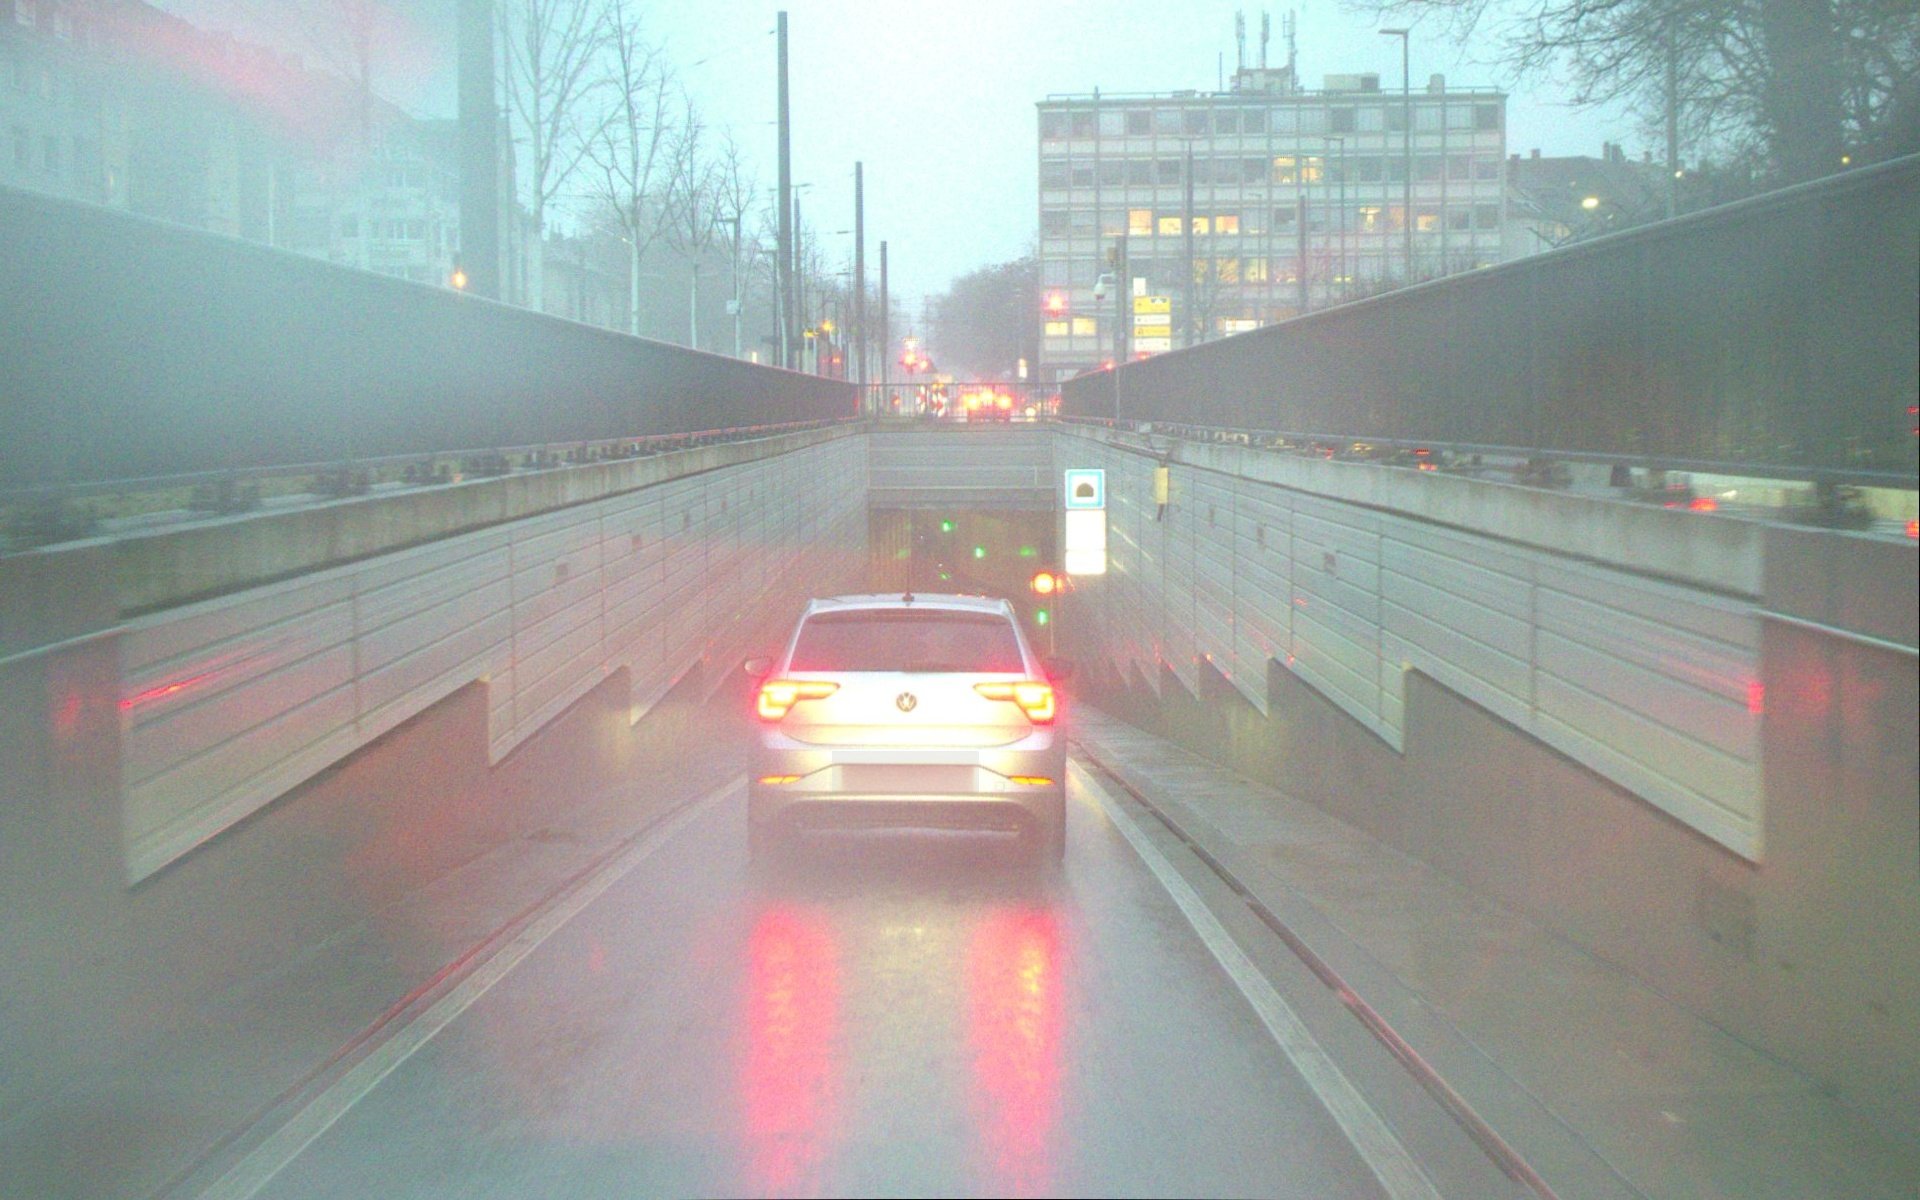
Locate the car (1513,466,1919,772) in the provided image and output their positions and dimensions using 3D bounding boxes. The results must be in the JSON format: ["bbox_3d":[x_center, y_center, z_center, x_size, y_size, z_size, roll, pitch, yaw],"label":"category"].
[{"bbox_3d":[4.250,0.022,19.298,1.722,1.474,4.000,2,3,2],"label":"car"}]

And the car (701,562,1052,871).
[{"bbox_3d":[-0.374,0.570,19.458,1.722,1.474,4.000,2,1,2],"label":"car"}]
